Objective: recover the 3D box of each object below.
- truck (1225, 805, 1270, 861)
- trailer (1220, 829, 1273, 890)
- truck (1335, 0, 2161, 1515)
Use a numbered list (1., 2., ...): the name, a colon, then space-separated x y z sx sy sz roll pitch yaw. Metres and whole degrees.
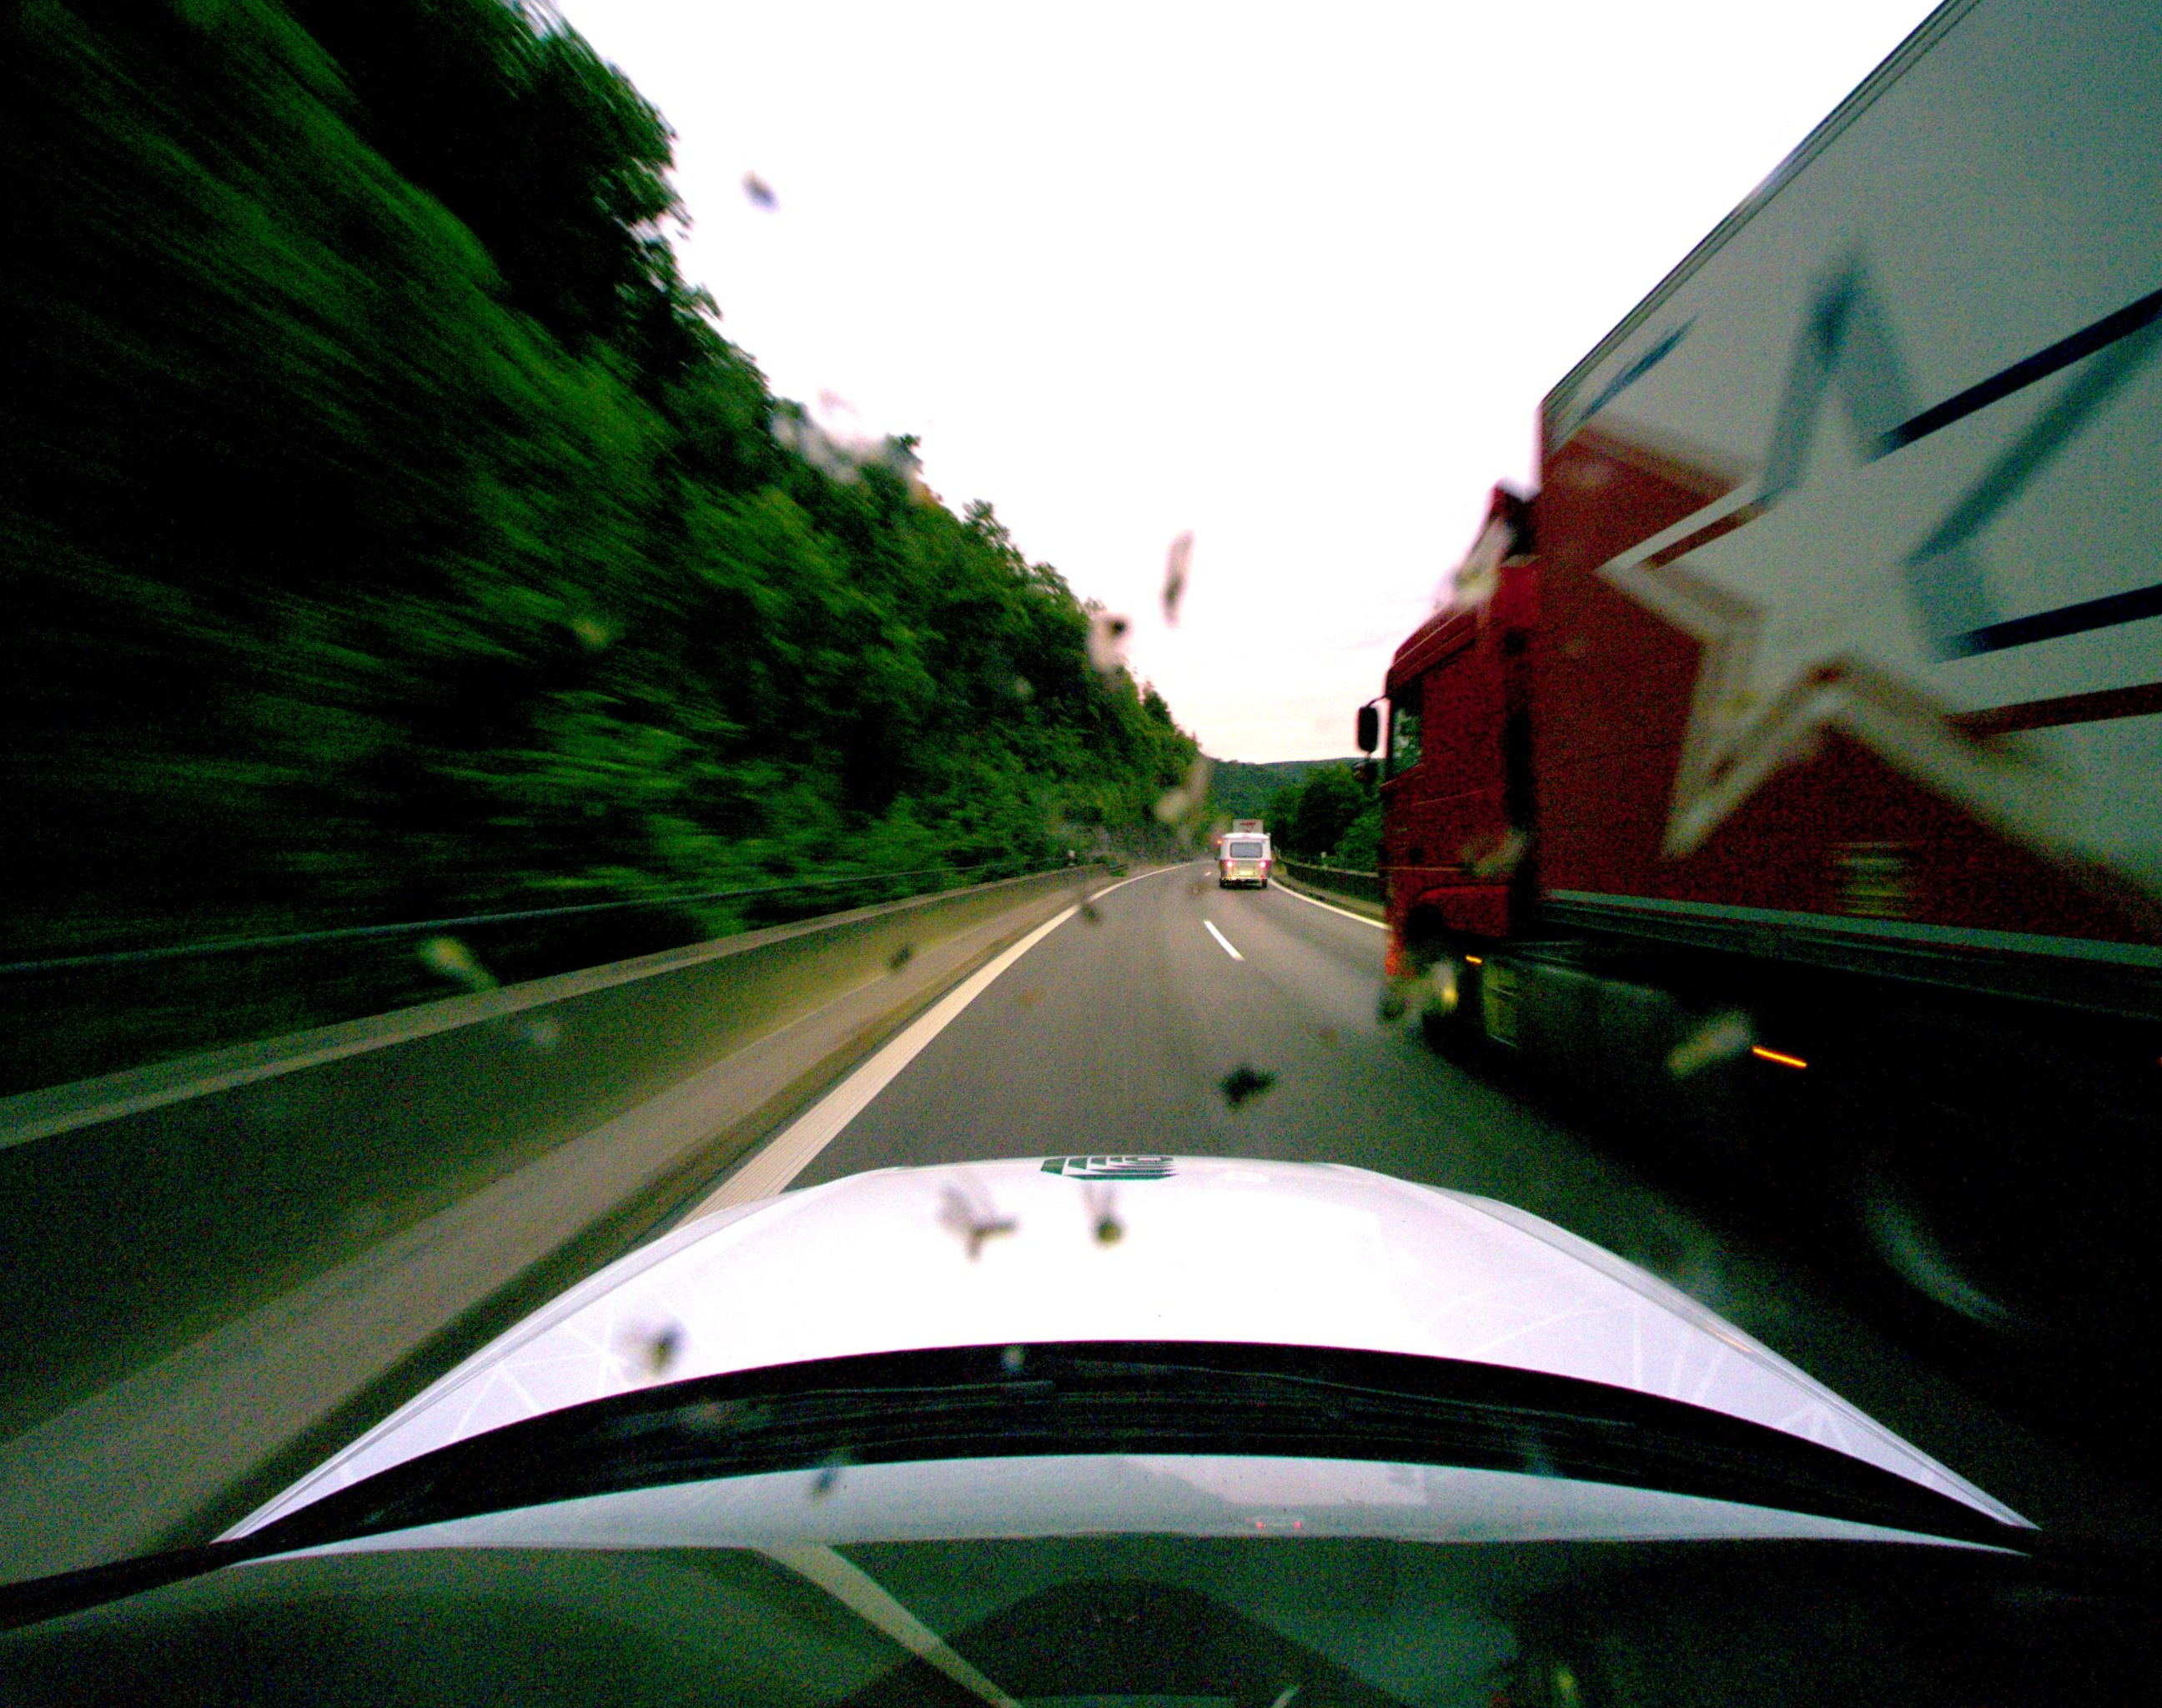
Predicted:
1. truck: 14.932 -1.679 73.481 3.274 4.173 16.552 -5 -1 11
2. trailer: 6.996 0.201 34.928 2.042 2.375 5.954 0 0 10
3. truck: 3.961 -0.613 4.766 3.058 4.145 6.448 0 -1 1
